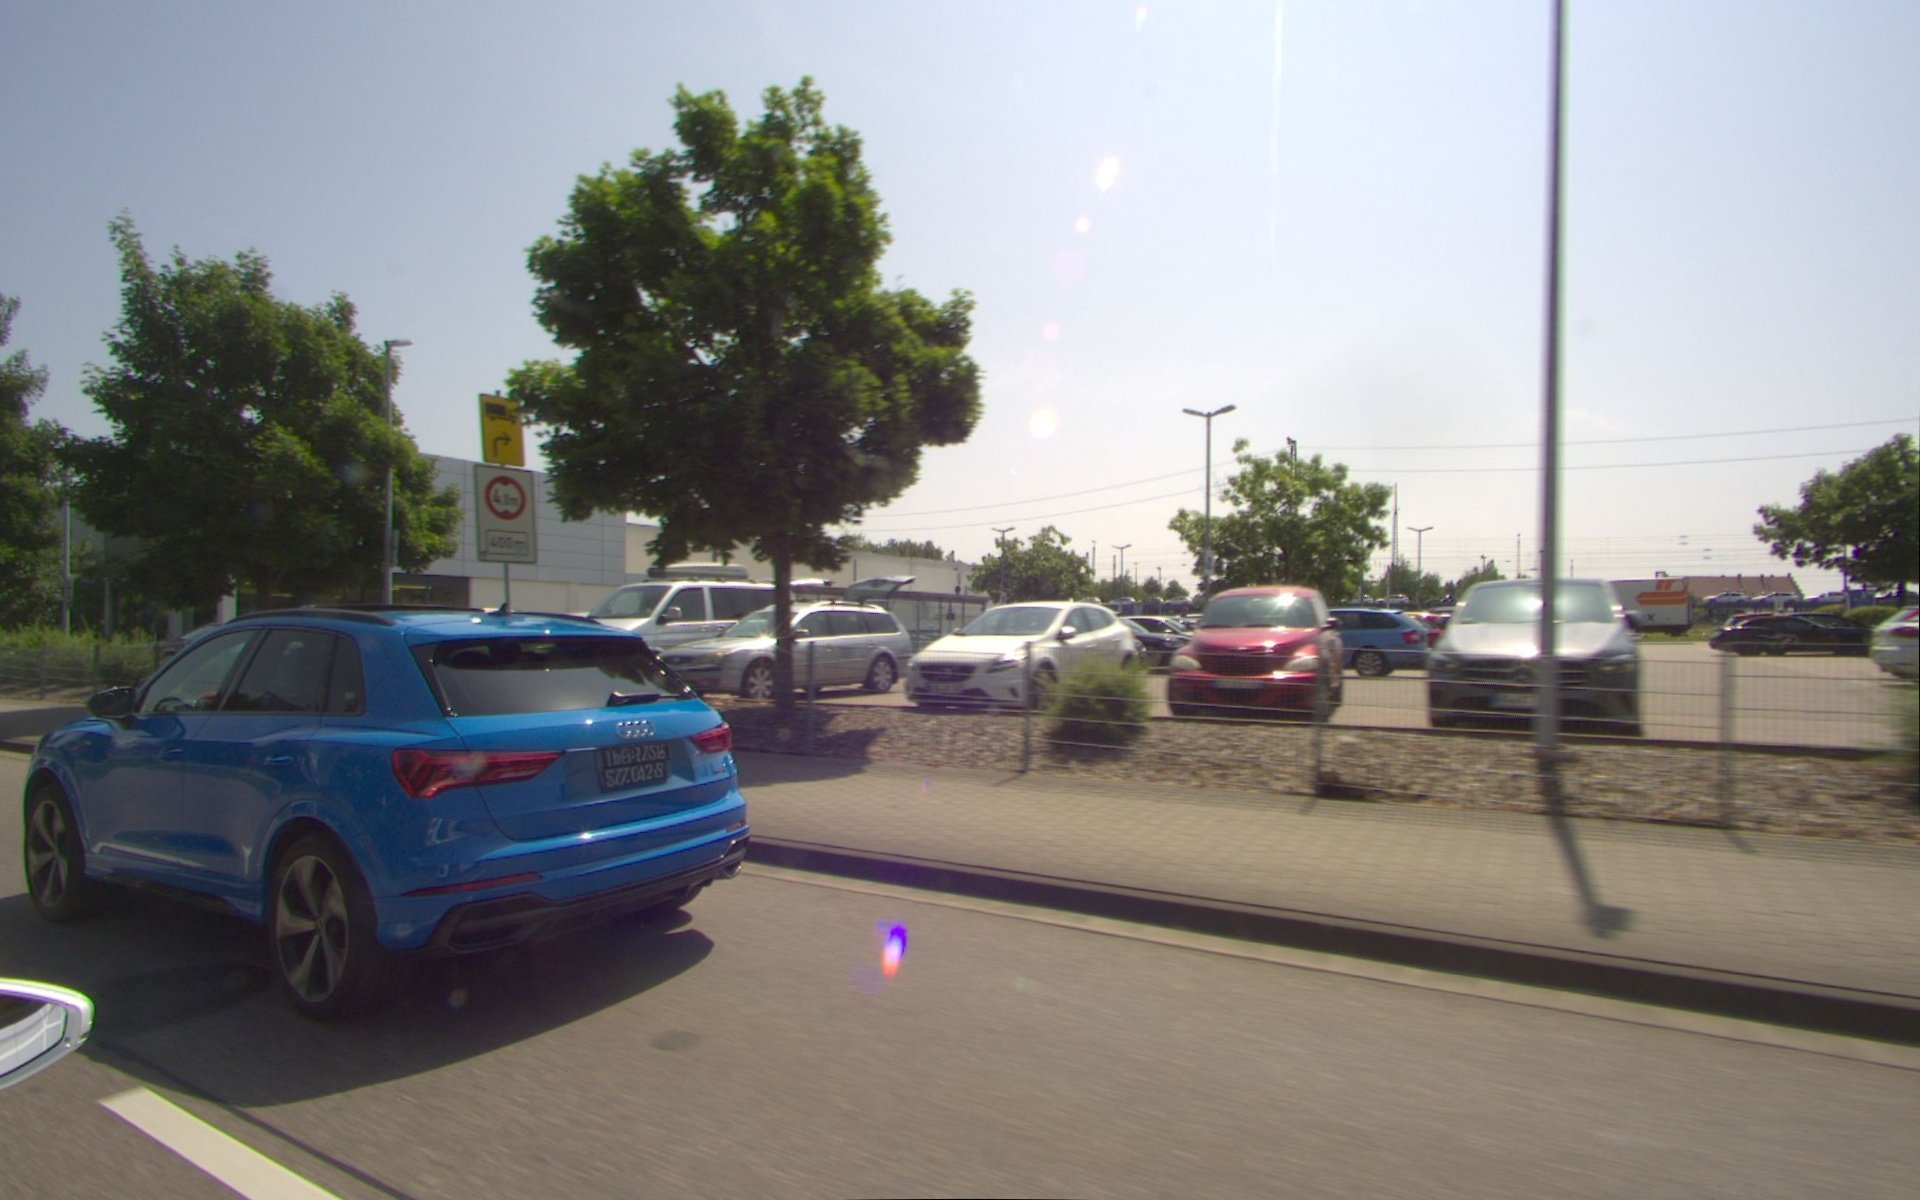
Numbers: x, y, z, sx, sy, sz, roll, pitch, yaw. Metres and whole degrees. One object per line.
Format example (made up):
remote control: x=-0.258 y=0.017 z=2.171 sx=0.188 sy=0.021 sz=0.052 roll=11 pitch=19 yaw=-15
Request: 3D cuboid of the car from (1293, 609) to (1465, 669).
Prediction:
car: x=10.870 y=0.963 z=26.040 sx=3.941 sy=1.439 sz=1.726 roll=0 pitch=0 yaw=31

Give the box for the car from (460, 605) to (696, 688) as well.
car: x=-7.192 y=0.863 z=19.240 sx=1.800 sy=1.407 sz=3.981 roll=0 pitch=-2 yaw=32

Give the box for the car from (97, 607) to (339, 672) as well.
car: x=-20.221 y=1.011 z=27.567 sx=1.992 sy=1.617 sz=4.985 roll=-1 pitch=-1 yaw=29

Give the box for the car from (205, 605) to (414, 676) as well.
car: x=-16.082 y=1.020 z=24.967 sx=1.798 sy=1.616 sz=3.986 roll=0 pitch=-2 yaw=28

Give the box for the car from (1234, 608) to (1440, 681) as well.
car: x=8.100 y=0.897 z=21.597 sx=3.941 sy=1.439 sz=1.726 roll=0 pitch=0 yaw=31

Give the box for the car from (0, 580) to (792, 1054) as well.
car: x=-3.130 y=0.767 z=5.277 sx=4.285 sy=1.613 sz=1.806 roll=-1 pitch=0 yaw=30

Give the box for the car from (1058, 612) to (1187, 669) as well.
car: x=4.334 y=1.053 z=26.829 sx=3.204 sy=1.439 sz=1.263 roll=0 pitch=0 yaw=31

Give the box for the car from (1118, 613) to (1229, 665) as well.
car: x=6.195 y=1.110 z=29.119 sx=2.914 sy=1.439 sz=1.263 roll=0 pitch=0 yaw=31

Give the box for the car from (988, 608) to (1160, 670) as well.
car: x=2.827 y=0.922 z=24.990 sx=3.941 sy=1.439 sz=1.726 roll=0 pitch=0 yaw=31

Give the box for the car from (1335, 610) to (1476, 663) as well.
car: x=13.482 y=1.072 z=30.336 sx=3.720 sy=1.528 sz=1.777 roll=-1 pitch=-1 yaw=32

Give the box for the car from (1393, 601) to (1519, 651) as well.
car: x=17.634 y=0.916 z=35.617 sx=3.806 sy=1.706 sz=1.775 roll=-1 pitch=-1 yaw=36

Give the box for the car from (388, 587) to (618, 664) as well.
car: x=-9.220 y=0.528 z=20.509 sx=1.800 sy=1.407 sz=3.981 roll=0 pitch=-2 yaw=32

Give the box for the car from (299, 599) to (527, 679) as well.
car: x=-11.671 y=0.849 z=21.617 sx=1.801 sy=1.553 sz=3.981 roll=-2 pitch=-2 yaw=32

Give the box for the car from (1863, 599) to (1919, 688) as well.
car: x=17.239 y=0.670 z=15.909 sx=4.022 sy=1.412 sz=1.732 roll=-1 pitch=-1 yaw=32

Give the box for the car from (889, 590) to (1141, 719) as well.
car: x=0.889 y=0.671 z=13.343 sx=1.673 sy=1.440 sz=3.991 roll=0 pitch=-2 yaw=31

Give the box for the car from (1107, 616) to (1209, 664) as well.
car: x=6.218 y=1.231 z=31.488 sx=2.914 sy=1.439 sz=1.263 roll=0 pitch=0 yaw=31

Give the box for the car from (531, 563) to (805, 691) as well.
car: x=-4.943 y=0.484 z=17.632 sx=1.800 sy=1.949 sz=4.610 roll=0 pitch=-2 yaw=32

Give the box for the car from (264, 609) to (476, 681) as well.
car: x=-13.765 y=1.049 z=23.611 sx=1.798 sy=1.553 sz=3.987 roll=-1 pitch=-2 yaw=26

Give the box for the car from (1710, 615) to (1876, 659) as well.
car: x=28.261 y=1.244 z=34.138 sx=4.155 sy=1.408 sz=1.627 roll=-1 pitch=-1 yaw=33

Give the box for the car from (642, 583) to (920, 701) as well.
car: x=-2.681 y=0.648 z=15.945 sx=1.803 sy=1.613 sz=4.355 roll=0 pitch=-2 yaw=35

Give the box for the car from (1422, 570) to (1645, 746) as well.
car: x=6.065 y=0.542 z=10.415 sx=1.674 sy=1.440 sz=4.161 roll=0 pitch=-2 yaw=34

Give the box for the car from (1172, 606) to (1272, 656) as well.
car: x=9.276 y=1.077 z=35.503 sx=3.243 sy=1.694 sz=1.323 roll=0 pitch=0 yaw=31

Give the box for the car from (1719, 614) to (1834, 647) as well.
car: x=32.577 y=1.204 z=40.068 sx=3.384 sy=1.269 sz=1.465 roll=-1 pitch=-1 yaw=33

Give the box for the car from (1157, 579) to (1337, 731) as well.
car: x=3.618 y=0.618 z=12.200 sx=1.694 sy=1.556 sz=3.593 roll=0 pitch=-2 yaw=23

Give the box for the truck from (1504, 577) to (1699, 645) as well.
truck: x=39.240 y=0.674 z=61.564 sx=9.901 sy=3.888 sz=2.841 roll=-1 pitch=0 yaw=36
